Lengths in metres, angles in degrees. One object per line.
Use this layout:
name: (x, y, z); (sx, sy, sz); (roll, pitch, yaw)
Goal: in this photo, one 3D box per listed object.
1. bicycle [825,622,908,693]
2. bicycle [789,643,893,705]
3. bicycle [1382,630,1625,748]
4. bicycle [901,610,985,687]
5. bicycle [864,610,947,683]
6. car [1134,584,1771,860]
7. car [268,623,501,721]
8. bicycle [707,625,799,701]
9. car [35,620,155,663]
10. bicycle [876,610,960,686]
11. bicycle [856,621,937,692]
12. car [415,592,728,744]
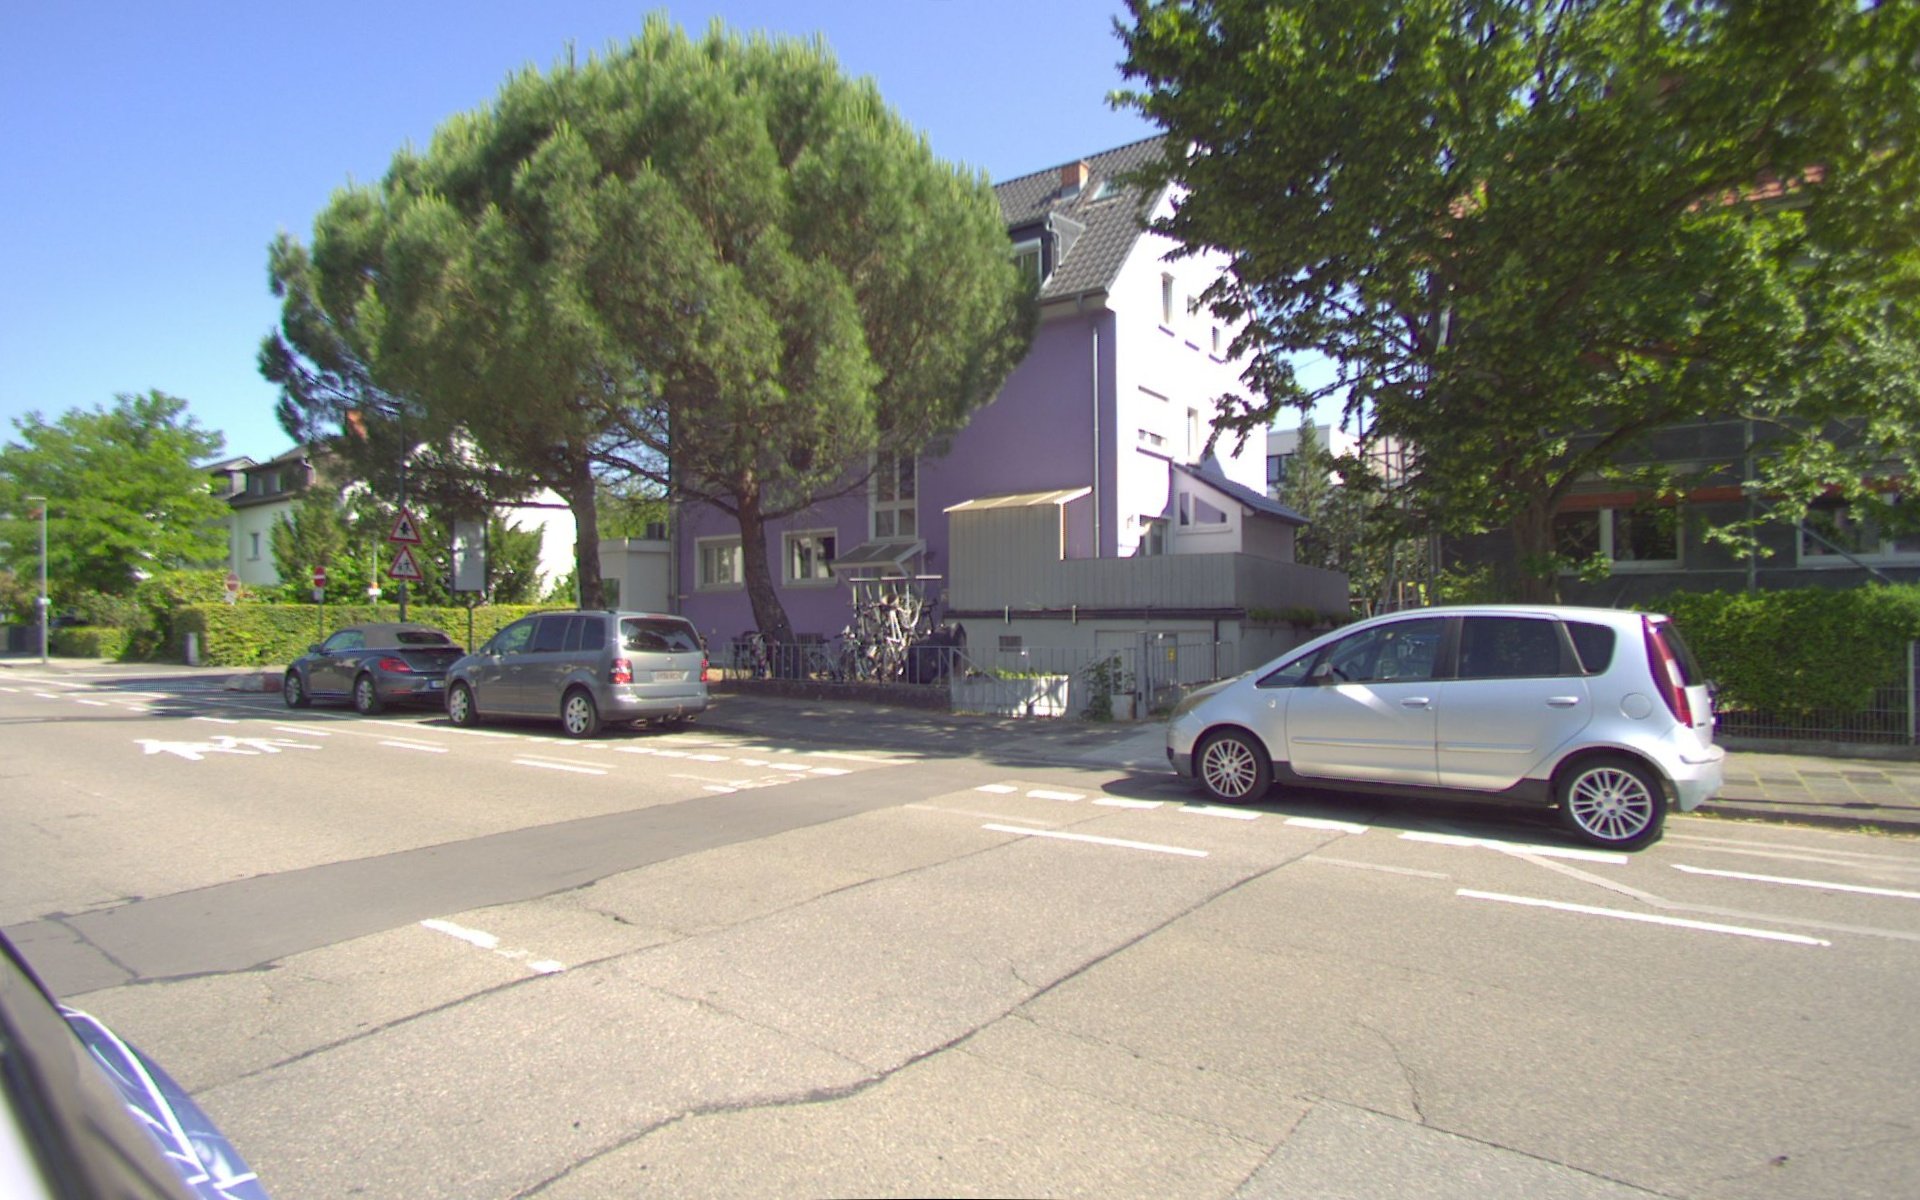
bicycle: (-1.909, 1.166, 20.987); (0.501, 1.394, 2.154); (-2, -3, 32)
bicycle: (-1.977, 1.194, 16.641); (1.910, 0.961, 0.453); (-2, -2, 36)
bicycle: (5.785, 0.901, 10.885); (2.237, 1.148, 0.507); (-1, -1, 39)
bicycle: (-0.299, 0.924, 19.367); (0.501, 1.394, 2.154); (-2, -3, 32)
bicycle: (-1.065, 0.925, 20.313); (0.501, 1.394, 2.154); (-2, -3, 32)
car: (3.514, 0.774, 7.669); (3.993, 1.571, 1.704); (-2, -3, 37)
car: (-9.762, 1.170, 17.090); (4.184, 1.468, 1.825); (-2, -3, 36)
bicycle: (-3.668, 1.090, 17.858); (1.911, 1.276, 0.453); (-2, -2, 38)
car: (-38.418, 1.835, 44.997); (3.940, 1.830, 2.001); (2, -3, -44)
bicycle: (-0.789, 0.922, 19.725); (0.501, 1.394, 2.154); (-2, -3, 32)
bicycle: (-1.294, 1.157, 20.961); (0.501, 1.394, 2.154); (-2, -3, 32)
car: (-5.442, 0.888, 13.943); (4.575, 1.778, 1.825); (-2, -3, 36)
